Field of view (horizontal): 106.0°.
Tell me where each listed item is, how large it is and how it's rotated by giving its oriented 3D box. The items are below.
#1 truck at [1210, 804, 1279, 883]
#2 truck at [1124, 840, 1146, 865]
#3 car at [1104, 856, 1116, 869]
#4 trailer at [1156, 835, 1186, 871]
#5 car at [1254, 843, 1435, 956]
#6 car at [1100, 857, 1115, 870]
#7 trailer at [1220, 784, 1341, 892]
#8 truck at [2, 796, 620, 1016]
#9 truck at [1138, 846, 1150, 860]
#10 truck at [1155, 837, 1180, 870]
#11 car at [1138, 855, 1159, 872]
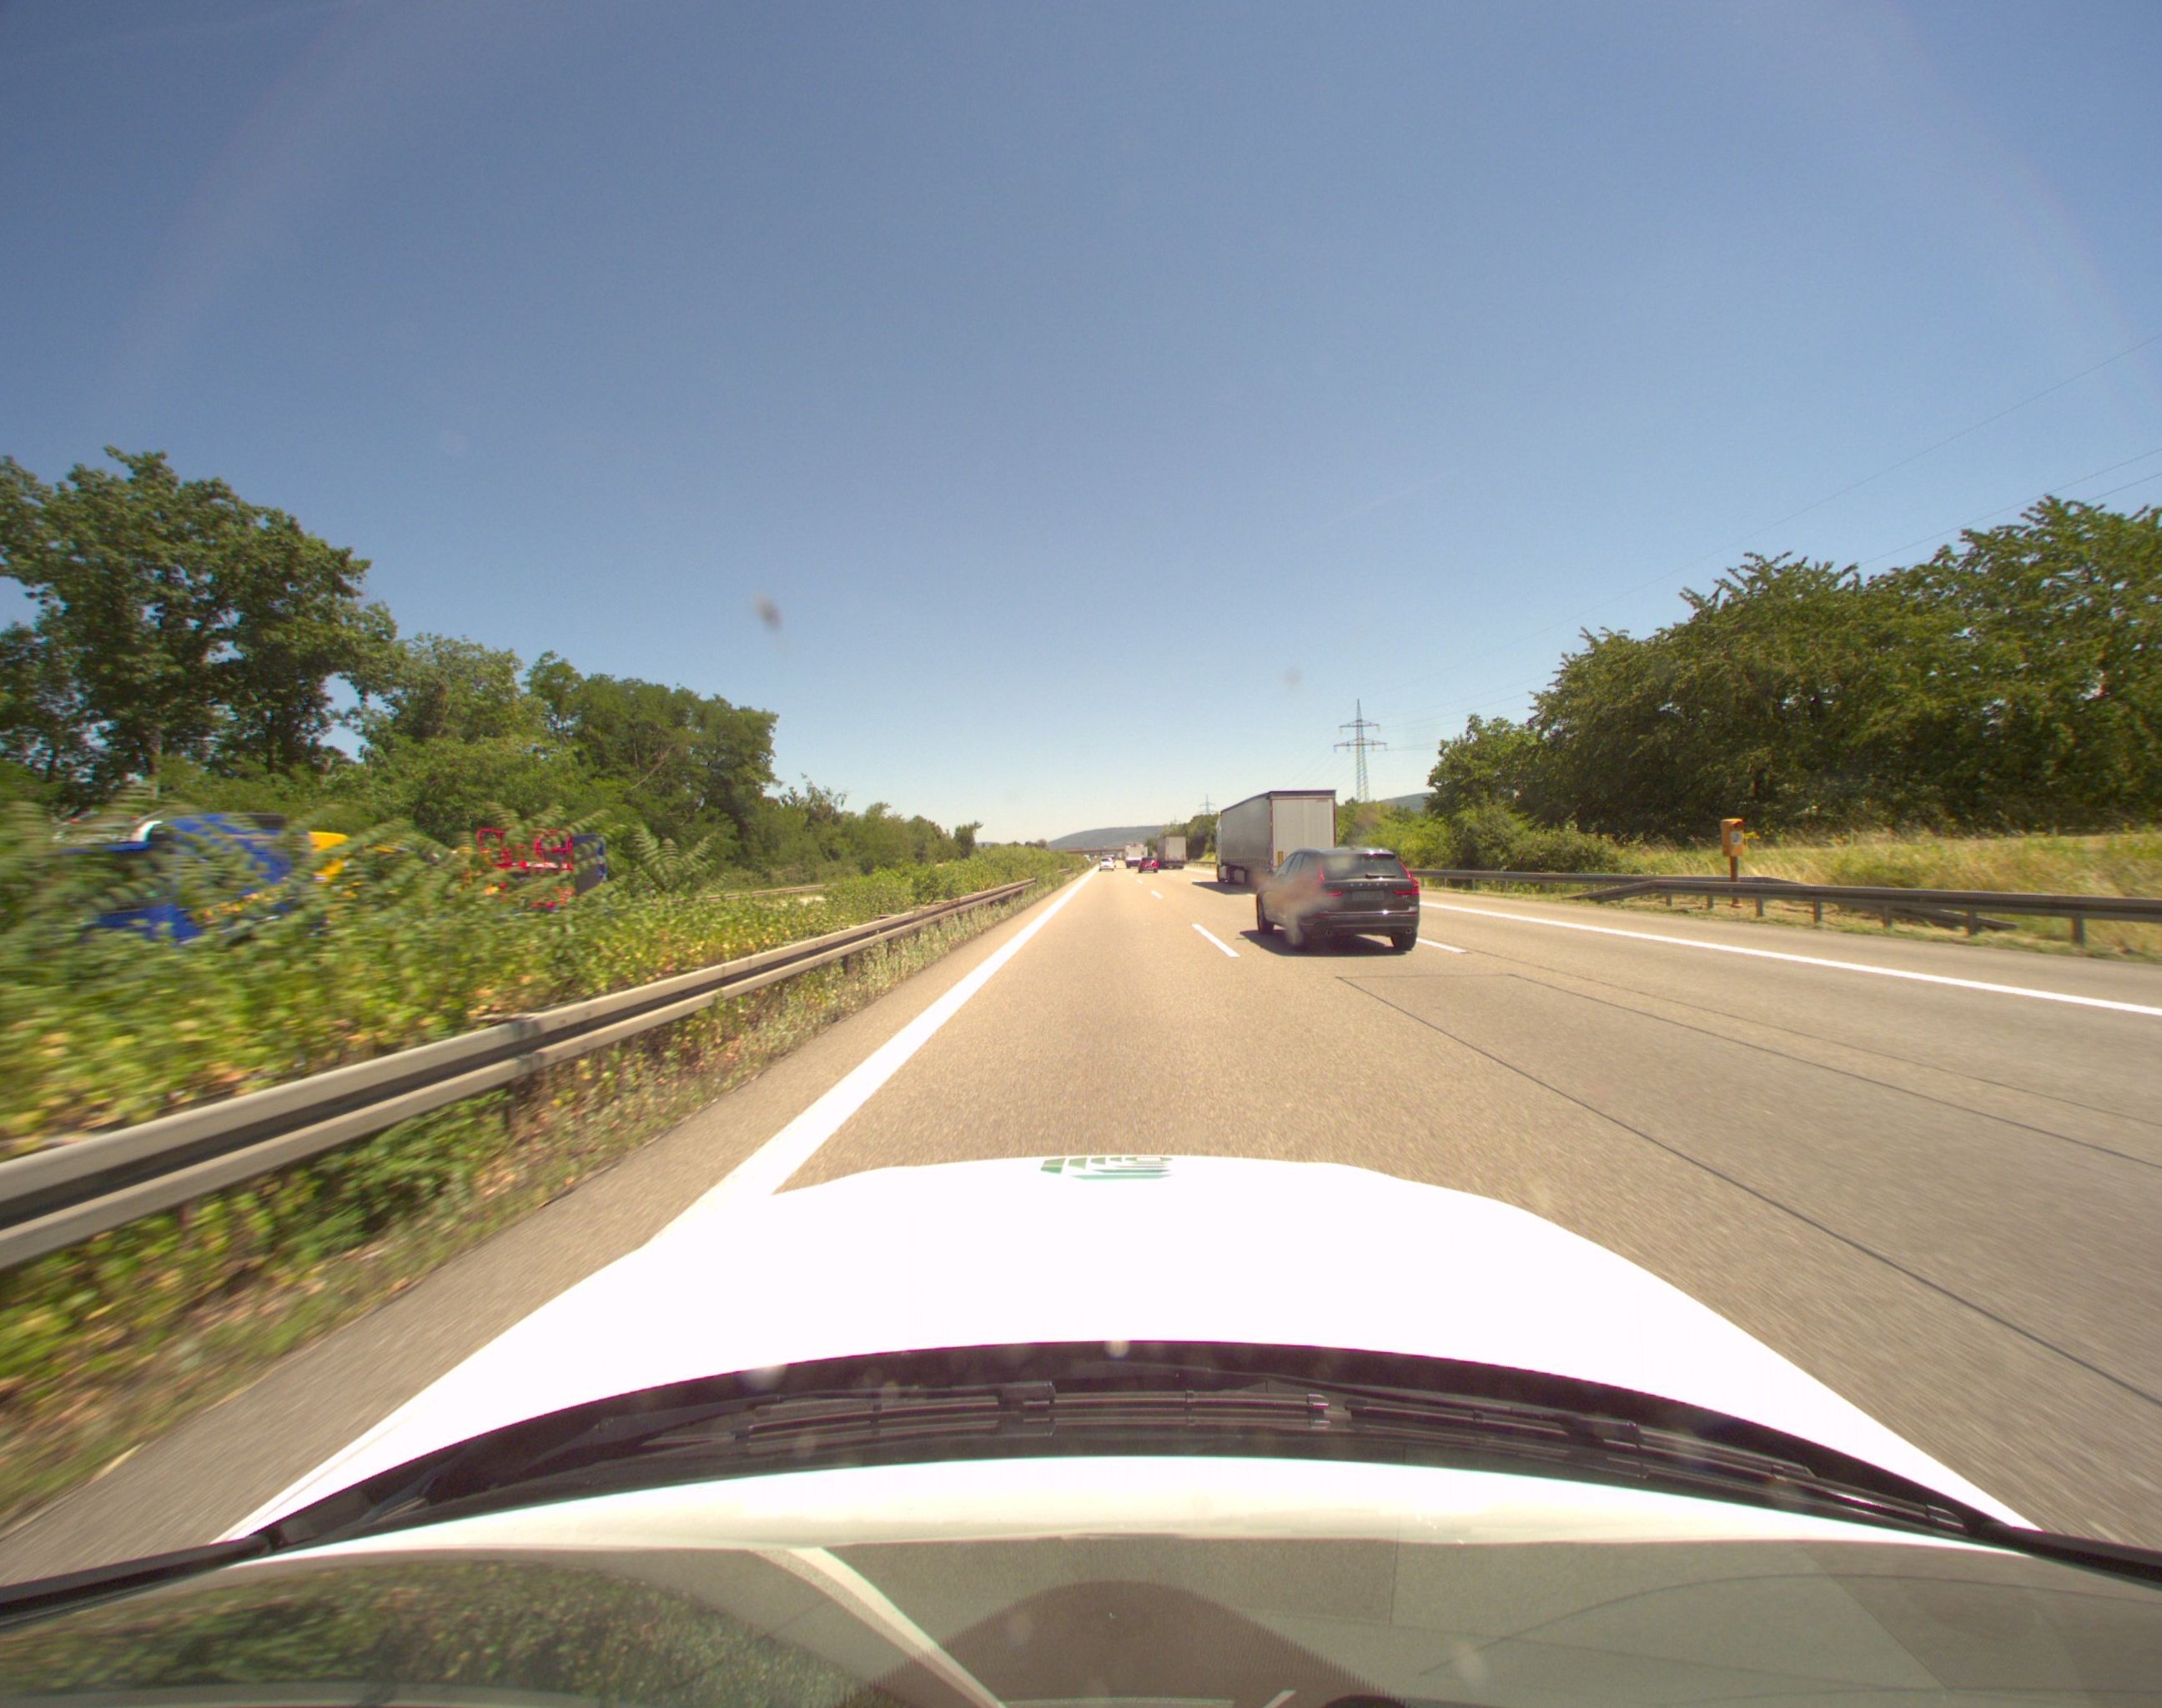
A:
[{"bbox_3d":[9.033,-0.531,45.625,2.726,4.120,6.127,-1,-1,2],"label":"truck"},{"bbox_3d":[7.451,-0.161,112.707,2.772,3.373,8.130,-1,-1,2],"label":"truck"},{"bbox_3d":[4.433,1.269,124.124,1.754,1.850,4.001,-1,0,2],"label":"car"},{"bbox_3d":[11.124,-0.057,101.819,2.778,4.164,13.581,-2,-1,2],"label":"trailer"},{"bbox_3d":[4.284,0.672,13.936,1.867,1.623,4.005,-1,0,1],"label":"car"},{"bbox_3d":[2.987,1.062,92.829,1.601,1.468,4.001,-1,0,2],"label":"car"},{"bbox_3d":[8.770,-0.570,37.797,2.725,4.106,13.127,-1,0,2],"label":"trailer"},{"bbox_3d":[-15.976,0.885,19.283,2.777,3.432,11.986,-4,-1,2],"label":"truck"},{"bbox_3d":[14.588,-0.191,188.634,2.213,3.209,10.389,-2,0,2],"label":"truck"},{"bbox_3d":[11.411,-0.017,108.257,2.784,4.164,5.725,-2,-1,2],"label":"truck"},{"bbox_3d":[6.522,0.933,78.748,1.796,1.545,4.002,-1,0,2],"label":"car"}]
